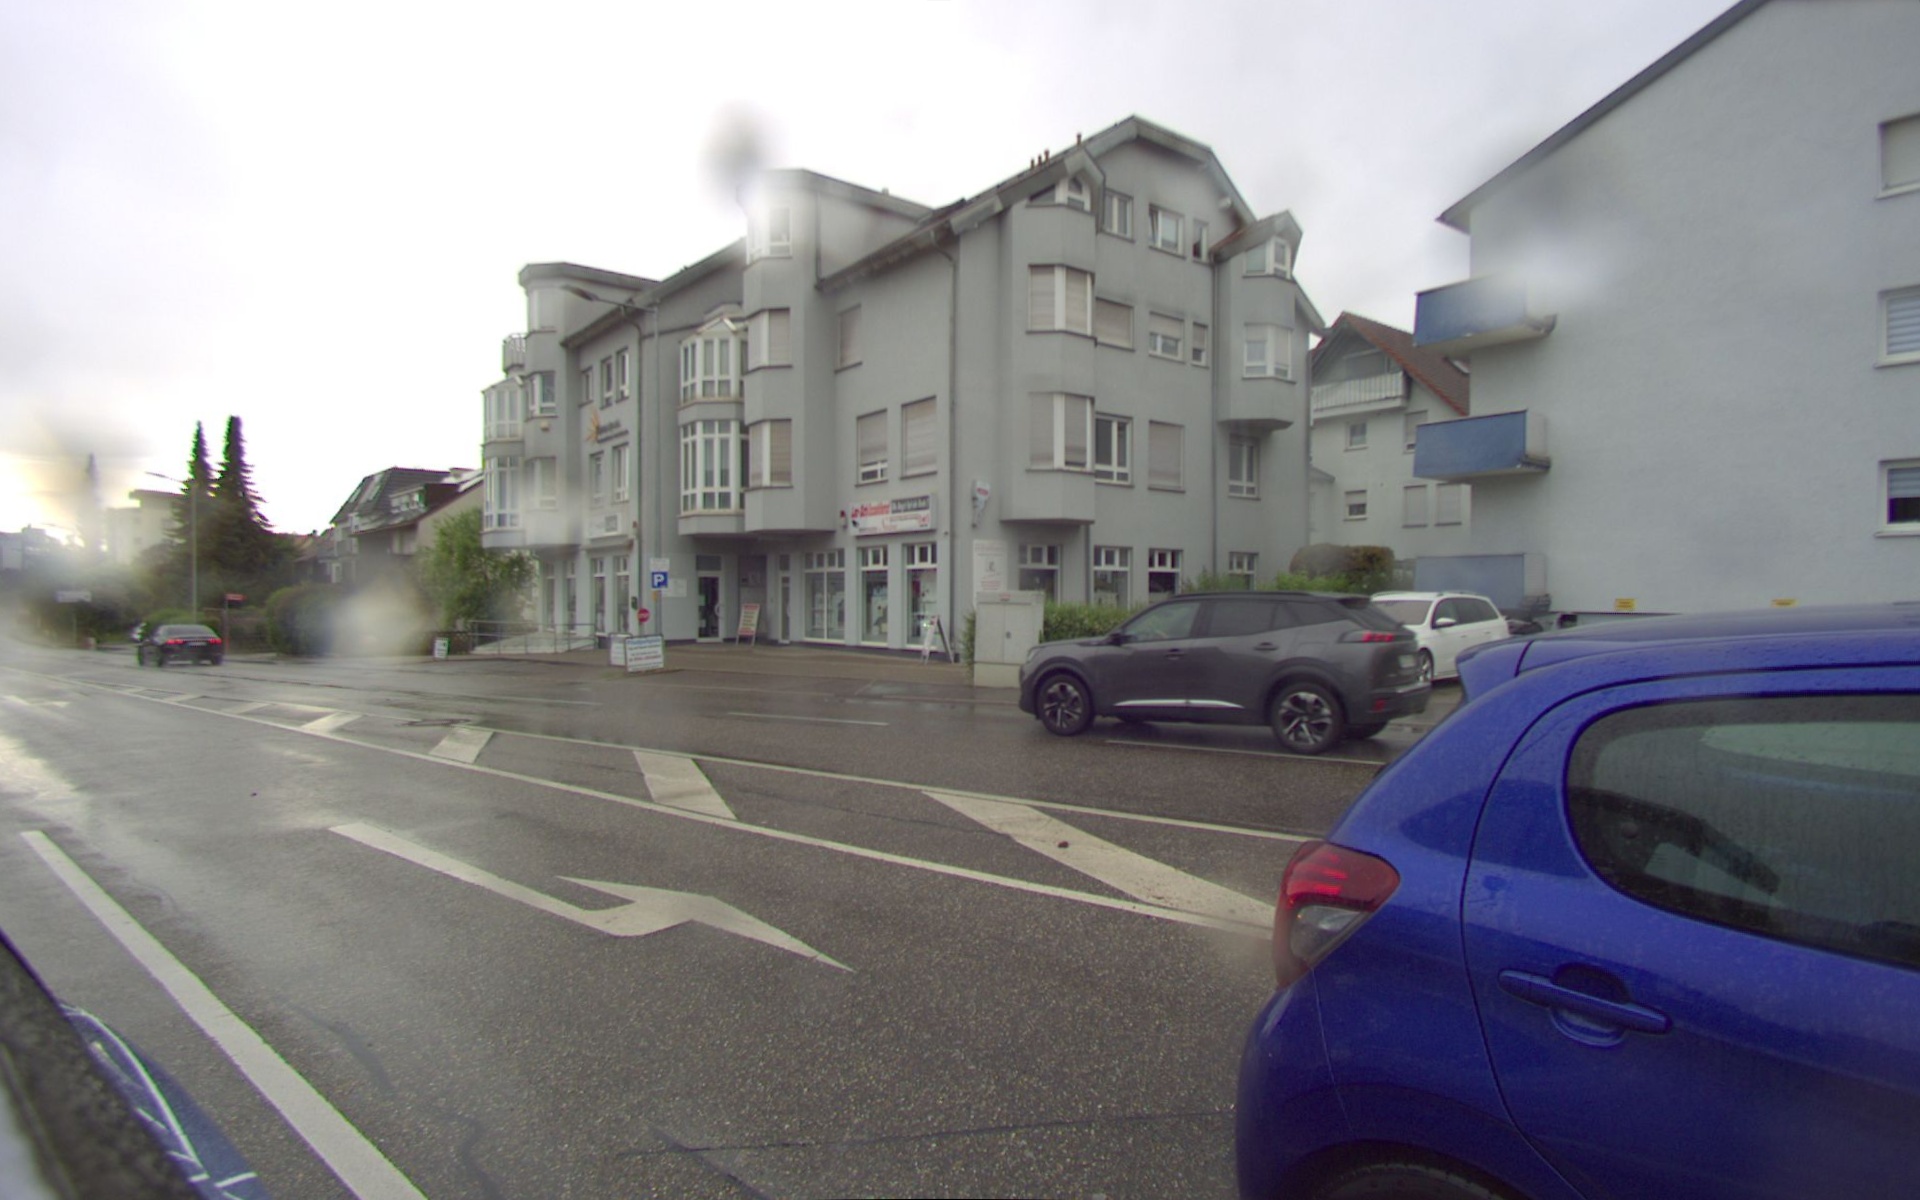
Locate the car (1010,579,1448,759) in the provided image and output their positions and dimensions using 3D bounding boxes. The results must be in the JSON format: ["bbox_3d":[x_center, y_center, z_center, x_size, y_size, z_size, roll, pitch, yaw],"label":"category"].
[{"bbox_3d":[2.717,0.596,10.555,3.992,1.523,1.949,-1,0,36],"label":"car"}]

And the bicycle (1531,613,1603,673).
[{"bbox_3d":[11.137,0.788,18.583,1.065,1.061,0.343,-2,-1,41],"label":"bicycle"}]

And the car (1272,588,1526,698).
[{"bbox_3d":[6.975,0.601,15.827,4.685,1.471,1.883,0,-2,-42],"label":"car"}]

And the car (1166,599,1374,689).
[{"bbox_3d":[5.487,0.686,17.672,1.851,1.366,3.941,-1,0,45],"label":"car"}]

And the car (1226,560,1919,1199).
[{"bbox_3d":[2.228,0.635,1.219,3.362,1.423,1.489,-2,-1,41],"label":"car"}]

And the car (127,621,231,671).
[{"bbox_3d":[-28.207,1.605,36.509,4.534,1.637,1.974,-1,0,39],"label":"car"}]
